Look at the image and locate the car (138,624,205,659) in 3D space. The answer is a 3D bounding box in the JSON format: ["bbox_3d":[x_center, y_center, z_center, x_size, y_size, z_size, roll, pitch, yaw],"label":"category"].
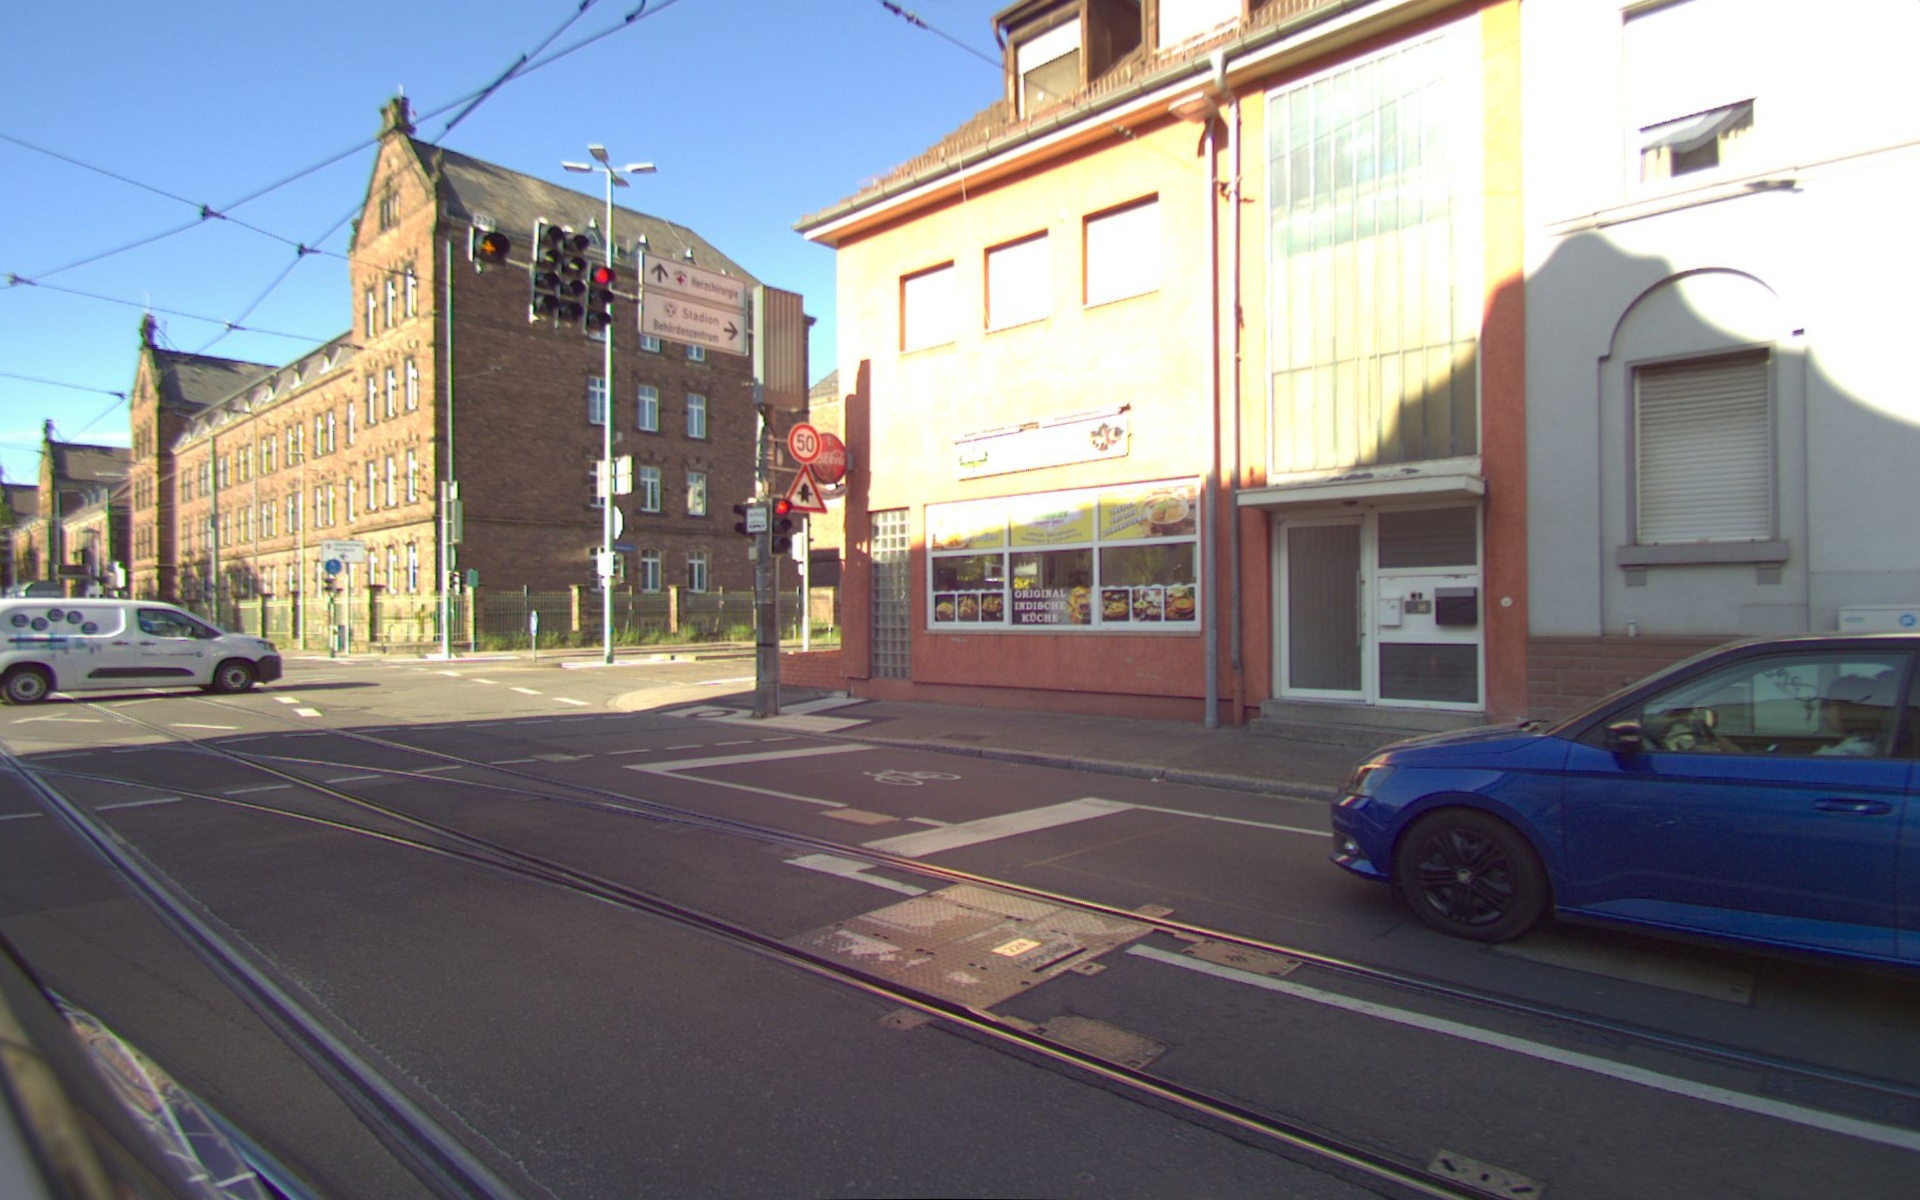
[{"bbox_3d":[-35.273,1.832,45.246,4.115,1.454,1.717,-2,-1,43],"label":"car"}]

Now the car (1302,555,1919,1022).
[{"bbox_3d":[3.664,0.671,4.205,3.929,1.579,1.665,-1,-3,43],"label":"car"}]

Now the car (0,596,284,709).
[{"bbox_3d":[-15.270,0.858,18.400,1.857,1.812,4.634,1,1,40],"label":"car"}]
